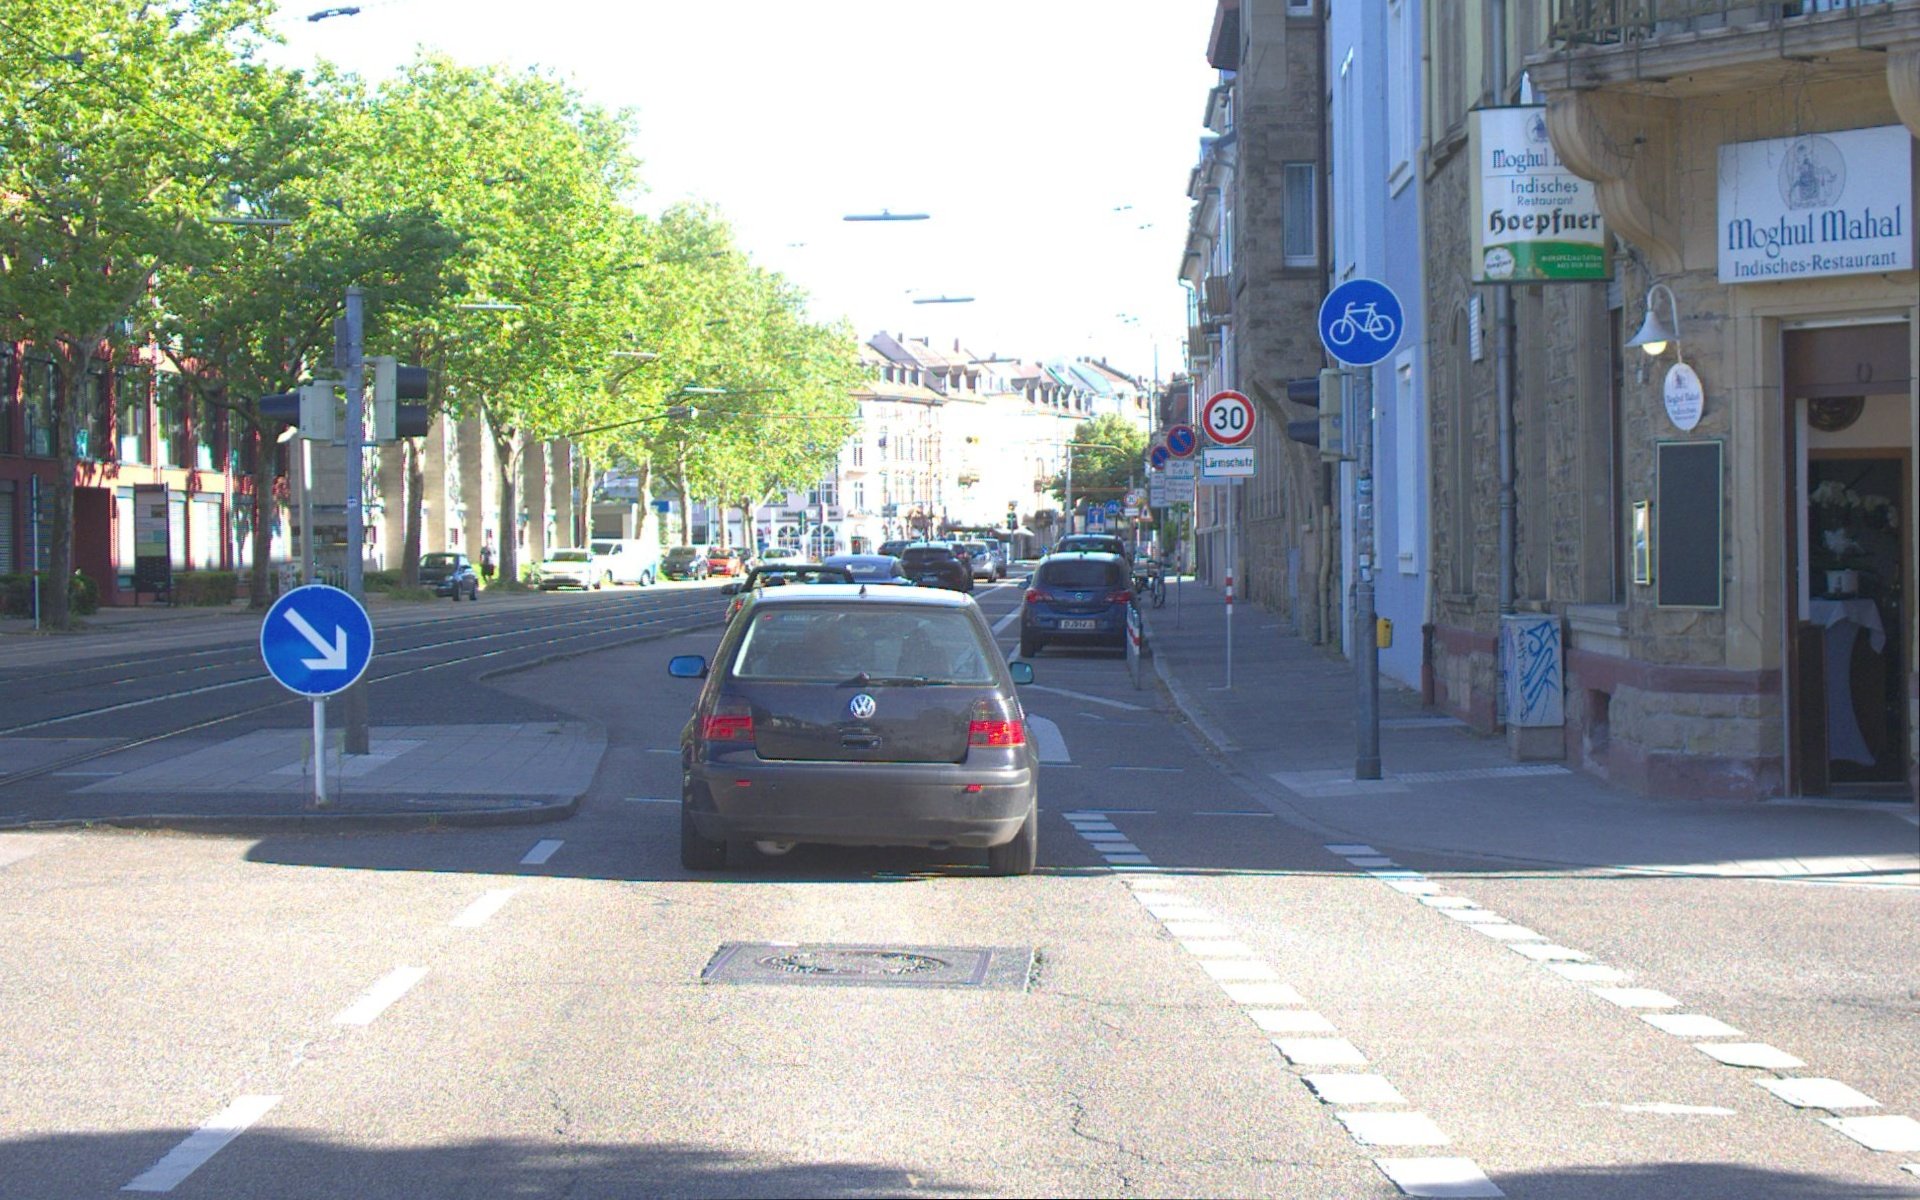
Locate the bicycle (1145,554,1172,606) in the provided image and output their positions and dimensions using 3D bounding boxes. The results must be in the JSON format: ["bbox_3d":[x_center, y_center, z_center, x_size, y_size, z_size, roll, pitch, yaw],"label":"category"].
[{"bbox_3d":[4.533,-0.469,78.619,0.515,1.136,2.259,-2,1,2],"label":"bicycle"}]

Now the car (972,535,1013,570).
[{"bbox_3d":[1.393,-2.060,147.356,1.636,1.467,3.729,0,1,3],"label":"car"}]

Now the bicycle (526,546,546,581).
[{"bbox_3d":[-15.241,-1.308,123.628,0.581,1.204,1.654,1,1,-4],"label":"bicycle"}]

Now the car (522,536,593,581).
[{"bbox_3d":[-15.086,-1.584,129.190,2.012,1.567,4.693,1,2,1],"label":"car"}]

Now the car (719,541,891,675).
[{"bbox_3d":[-1.884,0.063,42.810,1.749,1.532,3.891,-1,1,3],"label":"car"}]

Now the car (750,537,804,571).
[{"bbox_3d":[-8.635,-2.168,162.572,1.753,1.513,4.070,-2,1,8],"label":"car"}]

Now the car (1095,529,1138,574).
[{"bbox_3d":[6.582,-2.051,144.523,1.759,1.831,3.547,1,2,2],"label":"car"}]

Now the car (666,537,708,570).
[{"bbox_3d":[-12.977,-2.211,163.722,1.570,1.528,3.572,0,0,3],"label":"car"}]

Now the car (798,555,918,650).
[{"bbox_3d":[-1.739,0.015,59.828,1.749,1.532,3.891,-1,1,3],"label":"car"}]

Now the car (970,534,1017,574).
[{"bbox_3d":[1.299,-1.763,131.221,1.636,1.467,3.729,-1,1,3],"label":"car"}]

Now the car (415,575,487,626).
[{"bbox_3d":[-15.525,0.031,105.016,1.507,1.449,3.463,-1,-1,3],"label":"car"}]

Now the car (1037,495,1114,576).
[{"bbox_3d":[2.761,-1.530,81.152,1.753,1.849,4.815,0,1,3],"label":"car"}]

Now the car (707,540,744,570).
[{"bbox_3d":[-12.296,-2.366,180.275,1.570,1.528,3.572,0,0,3],"label":"car"}]

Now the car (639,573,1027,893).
[{"bbox_3d":[-0.539,0.592,17.654,1.748,1.370,4.000,-1,1,1],"label":"car"}]

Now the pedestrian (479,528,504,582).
[{"bbox_3d":[-16.574,-1.592,121.687,0.784,1.863,0.671,1,1,-12],"label":"pedestrian"}]

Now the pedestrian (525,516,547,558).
[{"bbox_3d":[-18.559,-2.776,150.459,0.796,1.814,0.670,1,1,3],"label":"pedestrian"}]

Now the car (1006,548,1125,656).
[{"bbox_3d":[1.550,-0.003,50.157,1.655,1.477,4.000,0,1,2],"label":"car"}]

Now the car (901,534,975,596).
[{"bbox_3d":[-0.532,-0.886,85.184,1.636,1.467,3.729,0,1,3],"label":"car"}]

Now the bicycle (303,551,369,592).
[{"bbox_3d":[-20.260,-0.928,111.619,2.008,1.274,0.664,1,1,3],"label":"bicycle"}]
